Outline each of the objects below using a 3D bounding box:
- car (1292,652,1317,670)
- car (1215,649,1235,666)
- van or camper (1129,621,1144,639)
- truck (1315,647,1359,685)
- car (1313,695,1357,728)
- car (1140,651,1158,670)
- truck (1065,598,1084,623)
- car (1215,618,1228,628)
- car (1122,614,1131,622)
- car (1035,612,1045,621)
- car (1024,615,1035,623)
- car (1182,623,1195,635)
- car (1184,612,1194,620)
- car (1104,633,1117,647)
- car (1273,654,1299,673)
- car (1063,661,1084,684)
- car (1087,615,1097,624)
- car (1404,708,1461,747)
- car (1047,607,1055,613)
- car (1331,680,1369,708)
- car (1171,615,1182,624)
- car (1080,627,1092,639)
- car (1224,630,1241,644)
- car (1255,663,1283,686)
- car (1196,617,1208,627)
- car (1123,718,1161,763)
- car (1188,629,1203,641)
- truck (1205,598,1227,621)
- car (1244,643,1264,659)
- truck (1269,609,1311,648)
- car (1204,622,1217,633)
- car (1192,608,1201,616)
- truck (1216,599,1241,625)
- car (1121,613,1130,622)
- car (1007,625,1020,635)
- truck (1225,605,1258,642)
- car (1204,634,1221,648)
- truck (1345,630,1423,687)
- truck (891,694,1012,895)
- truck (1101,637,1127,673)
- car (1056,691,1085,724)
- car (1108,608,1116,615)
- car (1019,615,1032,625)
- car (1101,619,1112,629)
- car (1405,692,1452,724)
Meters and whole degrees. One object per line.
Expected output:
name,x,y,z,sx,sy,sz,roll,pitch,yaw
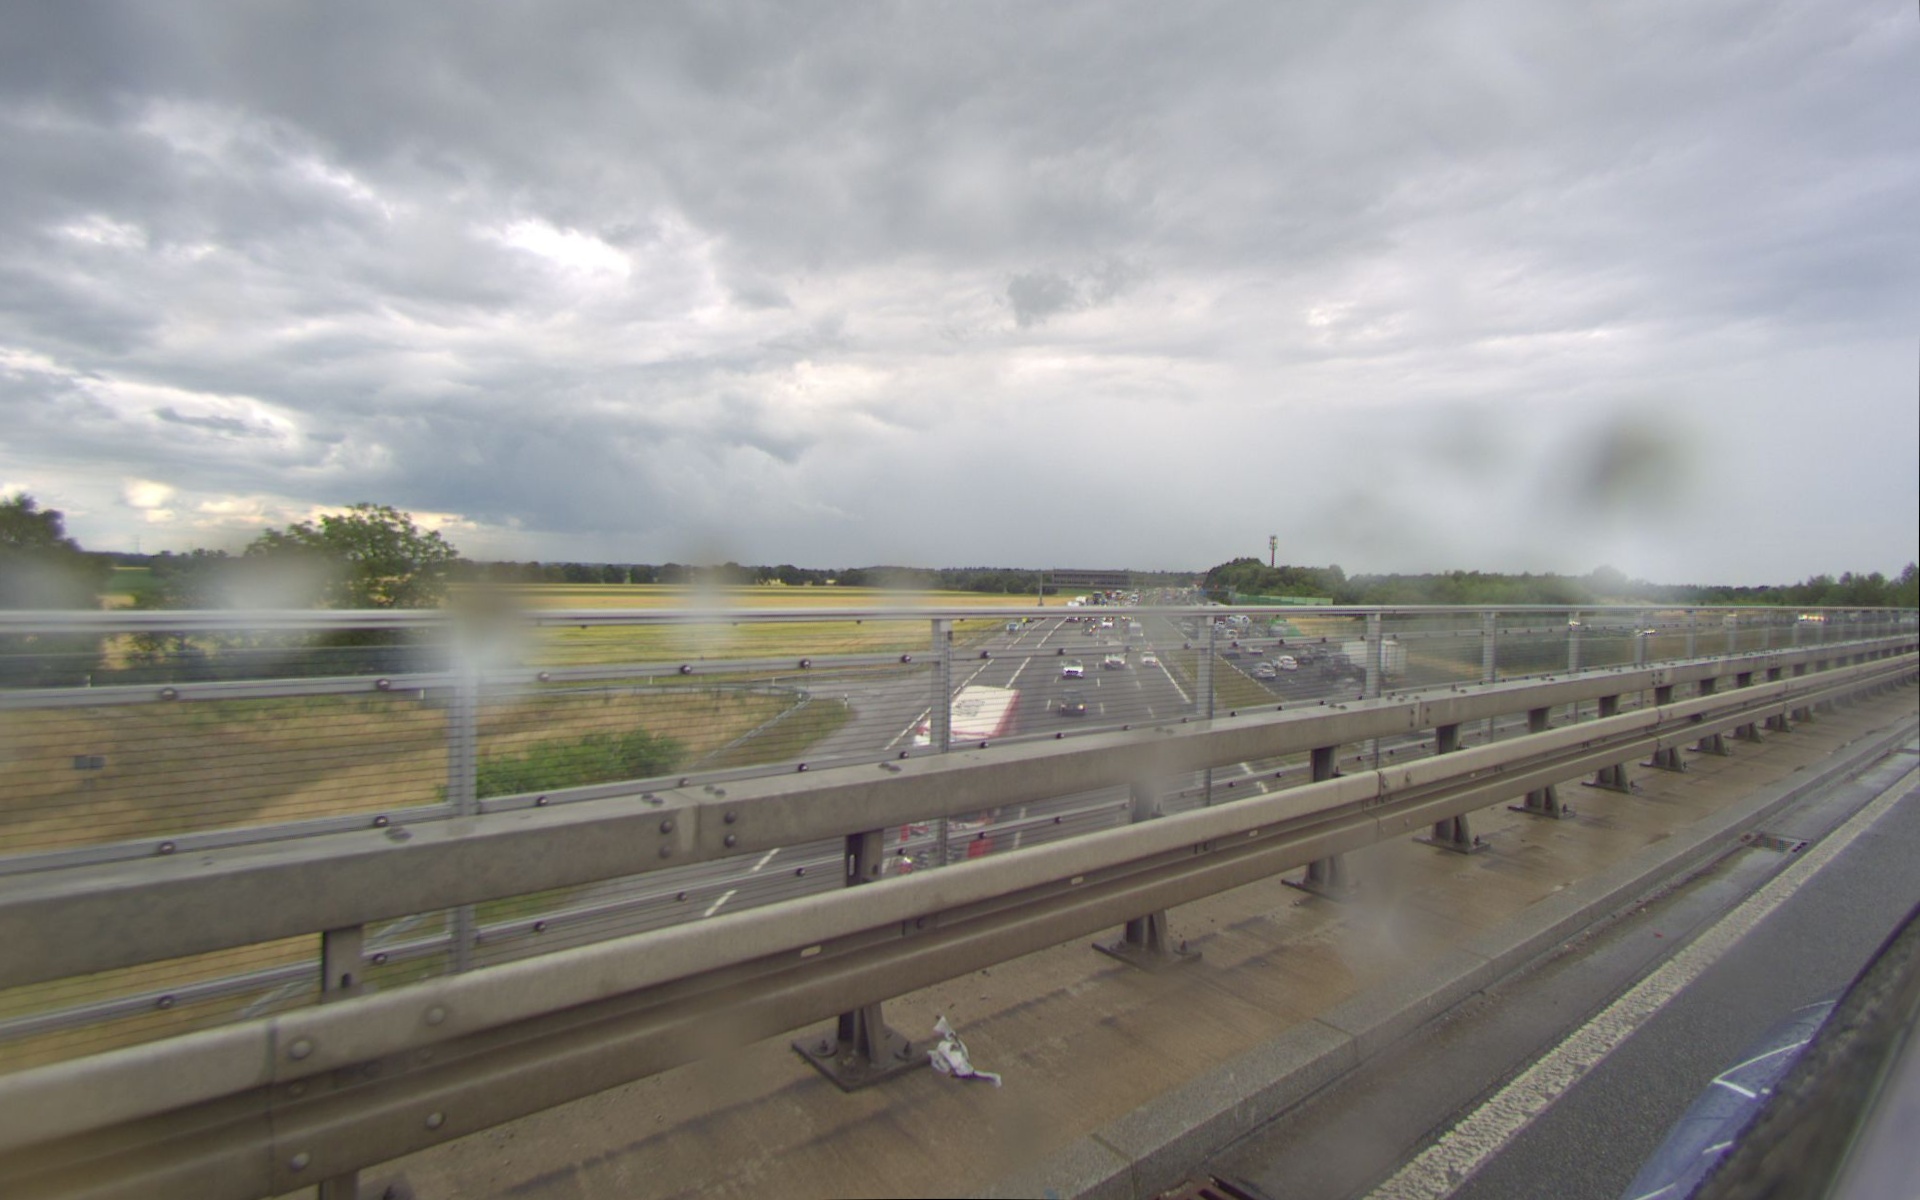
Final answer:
car,38.866,6.865,114.247,1.826,1.690,4.712,0,0,9
car,31.103,6.712,118.898,1.826,1.690,4.712,0,0,9
van or camper,27.083,4.541,155.209,2.026,2.481,7.312,0,0,9
truck,36.660,6.310,98.671,2.176,3.003,9.285,0,0,9
car,25.179,7.465,68.152,1.826,1.690,4.712,0,0,9
car,20.586,6.569,110.347,1.784,1.690,4.713,0,0,8
truck,23.792,2.159,209.210,2.751,4.961,12.710,0,0,12
car,49.970,4.404,193.553,1.826,1.797,4.712,0,0,9
car,35.872,3.851,218.169,1.826,1.690,4.712,0,0,9
car,16.758,3.467,211.427,1.826,1.690,4.712,0,0,9
car,13.351,3.668,194.723,1.784,1.454,4.714,0,0,7
car,38.563,4.880,170.591,1.826,1.797,4.712,0,0,9
car,53.843,3.798,238.005,1.826,1.797,4.712,0,0,9
car,20.690,5.486,139.273,1.784,1.690,4.713,0,0,8
car,33.908,6.561,105.252,1.826,1.690,4.712,0,0,9
car,10.393,6.632,92.603,1.784,1.690,4.713,0,0,8
car,26.768,3.921,204.869,1.826,1.690,4.712,0,0,9
car,28.504,7.675,61.206,1.826,1.690,4.712,0,0,9
car,20.568,2.270,228.612,1.784,1.454,4.714,0,0,7
car,30.881,7.443,80.294,1.826,1.690,4.712,0,0,9
car,44.185,3.968,206.608,1.826,1.797,4.712,0,0,9
car,20.166,5.237,161.802,1.826,1.690,4.712,0,0,9
car,40.366,5.434,150.066,1.826,1.797,4.712,0,0,9
car,28.661,6.892,93.948,1.826,1.690,4.712,0,0,9
car,47.323,4.300,197.843,1.826,1.797,4.712,0,0,9
car,9.628,7.404,53.797,1.784,1.690,4.713,0,0,8
car,37.402,5.541,160.851,1.826,1.690,4.712,0,0,9
truck,62.024,2.247,245.100,3.435,5.420,15.594,0,0,8
car,36.943,6.386,127.128,1.826,1.690,4.712,0,0,9
truck,48.542,4.014,149.327,3.241,5.230,15.594,0,0,8
car,44.094,4.816,178.387,1.826,1.797,4.712,0,0,9
car,59.858,3.030,255.729,1.826,1.797,4.712,0,0,9
truck,58.018,2.493,218.897,3.435,5.420,15.594,0,0,8
car,35.830,3.818,219.167,1.826,1.690,4.712,0,0,9
car,8.404,4.728,159.045,1.784,1.454,4.714,0,0,7
truck,46.288,3.696,166.721,3.241,5.511,15.594,0,0,8
car,35.313,5.684,141.455,1.826,1.690,4.712,0,0,9
truck,41.432,5.556,99.702,3.545,4.594,15.587,0,0,9
truck,-0.011,5.996,33.756,2.641,4.684,9.731,0,0,8
truck,16.187,5.700,106.283,2.553,3.219,8.374,0,0,9
car,7.511,7.231,68.351,1.784,1.690,4.713,0,0,8
car,38.114,2.790,253.899,1.826,1.690,4.712,0,0,9
car,11.430,3.489,175.555,1.826,1.690,4.712,0,0,9
car,27.105,4.348,187.088,1.826,1.690,4.712,0,0,9
car,33.770,7.761,73.034,1.826,1.690,4.712,0,0,9
